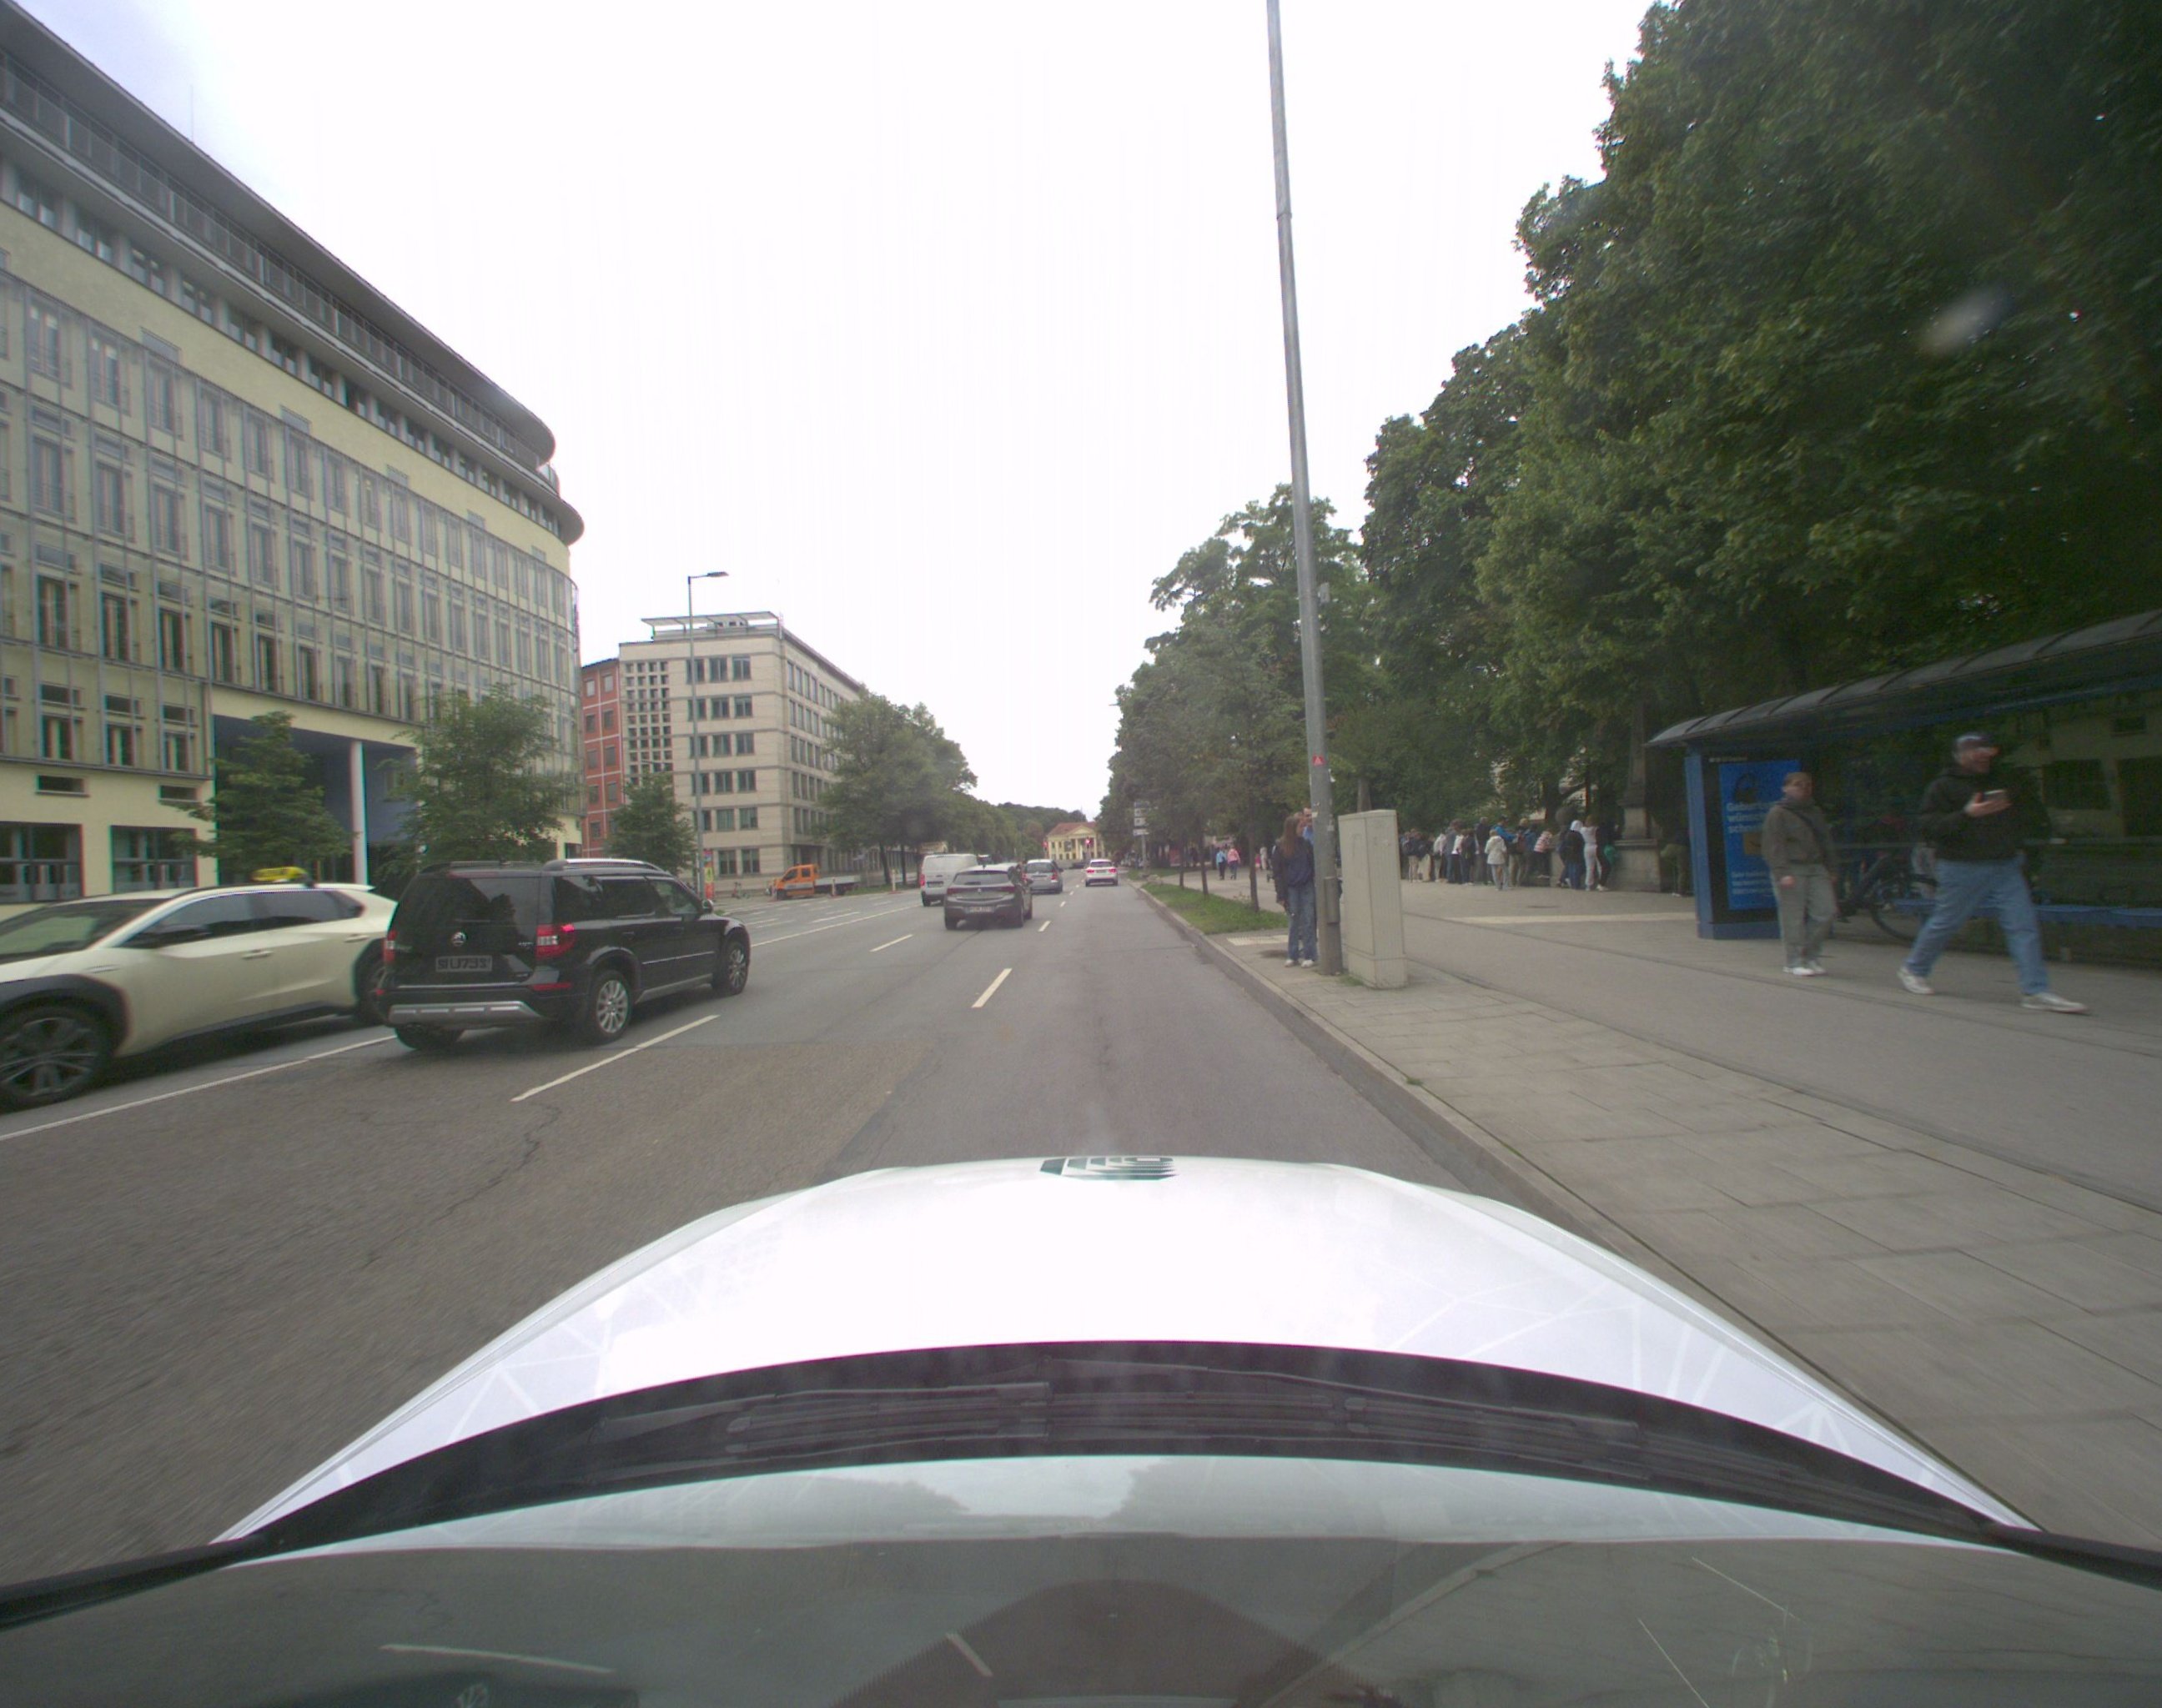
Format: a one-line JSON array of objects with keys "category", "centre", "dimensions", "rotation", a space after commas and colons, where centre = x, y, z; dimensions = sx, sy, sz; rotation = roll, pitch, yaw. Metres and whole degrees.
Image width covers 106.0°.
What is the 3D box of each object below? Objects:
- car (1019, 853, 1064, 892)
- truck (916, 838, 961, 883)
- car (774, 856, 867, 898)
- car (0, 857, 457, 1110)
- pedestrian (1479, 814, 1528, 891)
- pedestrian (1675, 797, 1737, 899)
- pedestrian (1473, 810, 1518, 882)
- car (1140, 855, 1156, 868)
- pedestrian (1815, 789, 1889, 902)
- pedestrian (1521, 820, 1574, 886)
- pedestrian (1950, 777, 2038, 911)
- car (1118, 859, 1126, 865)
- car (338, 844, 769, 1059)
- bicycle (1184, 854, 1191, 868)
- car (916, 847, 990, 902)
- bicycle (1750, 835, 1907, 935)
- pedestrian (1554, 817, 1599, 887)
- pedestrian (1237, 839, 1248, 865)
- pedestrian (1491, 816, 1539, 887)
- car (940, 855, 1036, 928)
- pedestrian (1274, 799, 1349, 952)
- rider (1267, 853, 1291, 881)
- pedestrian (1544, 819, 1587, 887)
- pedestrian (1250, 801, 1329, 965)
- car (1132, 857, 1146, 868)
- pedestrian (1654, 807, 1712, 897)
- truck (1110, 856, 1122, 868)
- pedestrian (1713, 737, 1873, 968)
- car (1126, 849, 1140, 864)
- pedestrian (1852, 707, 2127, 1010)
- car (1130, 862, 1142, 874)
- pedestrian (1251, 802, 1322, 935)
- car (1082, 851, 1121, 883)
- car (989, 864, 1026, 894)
[{"category": "car", "centre": [-1.771, 0.828, 37.848], "dimensions": [1.773, 1.654, 4.000], "rotation": [-2, 0, 1]}, {"category": "truck", "centre": [-12.674, 0.571, 73.049], "dimensions": [2.909, 3.775, 7.658], "rotation": [-2, 0, -3]}, {"category": "car", "centre": [-18.242, 1.594, 57.222], "dimensions": [5.667, 2.536, 2.154], "rotation": [-3, -1, -3]}, {"category": "car", "centre": [-8.408, 0.975, 7.278], "dimensions": [1.850, 1.748, 4.631], "rotation": [-5, 0, 2]}, {"category": "pedestrian", "centre": [10.358, -0.035, 19.984], "dimensions": [0.808, 1.829, 0.729], "rotation": [-2, -1, 4]}, {"category": "pedestrian", "centre": [11.121, -0.098, 14.506], "dimensions": [0.633, 1.768, 0.533], "rotation": [-2, -1, 4]}, {"category": "pedestrian", "centre": [11.007, -0.205, 21.652], "dimensions": [0.808, 1.852, 0.729], "rotation": [-2, -1, 4]}, {"category": "car", "centre": [8.712, 0.945, 106.255], "dimensions": [1.820, 1.549, 4.754], "rotation": [-4, -1, 2]}, {"category": "pedestrian", "centre": [12.416, -0.129, 13.130], "dimensions": [0.633, 1.768, 0.533], "rotation": [-2, -1, 4]}, {"category": "pedestrian", "centre": [10.996, -0.025, 19.202], "dimensions": [0.808, 1.507, 0.729], "rotation": [-2, -1, 4]}, {"category": "pedestrian", "centre": [12.439, -0.130, 11.117], "dimensions": [0.630, 1.768, 0.536], "rotation": [-2, -1, 33]}, {"category": "car", "centre": [9.656, 1.827, 191.252], "dimensions": [1.718, 1.324, 4.030], "rotation": [-4, -1, 2]}, {"category": "car", "centre": [-5.053, 0.809, 8.657], "dimensions": [1.716, 1.636, 4.205], "rotation": [-3, -1, 1]}, {"category": "bicycle", "centre": [8.444, 0.551, 64.536], "dimensions": [0.383, 1.021, 2.080], "rotation": [-2, 0, 2]}, {"category": "car", "centre": [-4.846, 0.761, 31.435], "dimensions": [1.892, 1.847, 4.956], "rotation": [-3, -1, 1]}, {"category": "bicycle", "centre": [8.663, 0.338, 9.523], "dimensions": [0.391, 1.060, 1.577], "rotation": [-2, 0, 1]}, {"category": "pedestrian", "centre": [10.961, -0.032, 18.019], "dimensions": [0.633, 1.507, 0.533], "rotation": [-2, -1, 4]}, {"category": "pedestrian", "centre": [11.721, -0.151, 59.238], "dimensions": [0.585, 1.822, 0.850], "rotation": [-2, -1, 2]}, {"category": "pedestrian", "centre": [11.105, -0.054, 20.850], "dimensions": [0.808, 1.768, 0.729], "rotation": [-2, -1, 4]}, {"category": "car", "centre": [-2.165, 0.842, 19.990], "dimensions": [1.703, 1.552, 4.002], "rotation": [-2, 0, 2]}, {"category": "pedestrian", "centre": [2.869, 0.256, 10.119], "dimensions": [0.630, 1.808, 0.715], "rotation": [-2, -1, 37]}, {"category": "rider", "centre": [8.090, 0.538, 33.319], "dimensions": [0.761, 1.112, 1.246], "rotation": [-2, -1, 6]}, {"category": "pedestrian", "centre": [11.031, -0.019, 18.567], "dimensions": [0.633, 1.507, 0.533], "rotation": [-2, -1, 4]}, {"category": "pedestrian", "centre": [2.389, 0.326, 9.407], "dimensions": [0.705, 1.808, 0.639], "rotation": [-2, -1, 1]}, {"category": "car", "centre": [8.448, 1.211, 118.851], "dimensions": [1.718, 1.464, 4.778], "rotation": [-4, -1, 2]}, {"category": "pedestrian", "centre": [11.146, -0.039, 15.100], "dimensions": [0.633, 1.627, 0.533], "rotation": [-2, -1, 4]}, {"category": "truck", "centre": [9.797, 2.218, 229.010], "dimensions": [3.313, 3.367, 8.665], "rotation": [-2, 0, 2]}, {"category": "pedestrian", "centre": [5.888, -0.014, 6.771], "dimensions": [0.705, 1.808, 0.639], "rotation": [-2, -1, 1]}, {"category": "car", "centre": [9.219, 0.413, 144.373], "dimensions": [1.987, 2.643, 4.877], "rotation": [-2, 0, 0]}, {"category": "pedestrian", "centre": [5.941, 0.030, 5.400], "dimensions": [0.705, 1.808, 0.950], "rotation": [-2, -1, 1]}, {"category": "car", "centre": [9.252, 2.408, 137.678], "dimensions": [1.718, 1.867, 4.030], "rotation": [-4, -1, 2]}, {"category": "pedestrian", "centre": [3.017, 0.215, 11.949], "dimensions": [0.795, 1.881, 0.547], "rotation": [-2, -1, 37]}, {"category": "car", "centre": [1.086, 0.728, 45.445], "dimensions": [1.775, 1.644, 3.995], "rotation": [-2, 0, -4]}, {"category": "car", "centre": [-4.386, 1.458, 49.112], "dimensions": [1.773, 1.654, 3.999], "rotation": [-2, 0, 0]}]
